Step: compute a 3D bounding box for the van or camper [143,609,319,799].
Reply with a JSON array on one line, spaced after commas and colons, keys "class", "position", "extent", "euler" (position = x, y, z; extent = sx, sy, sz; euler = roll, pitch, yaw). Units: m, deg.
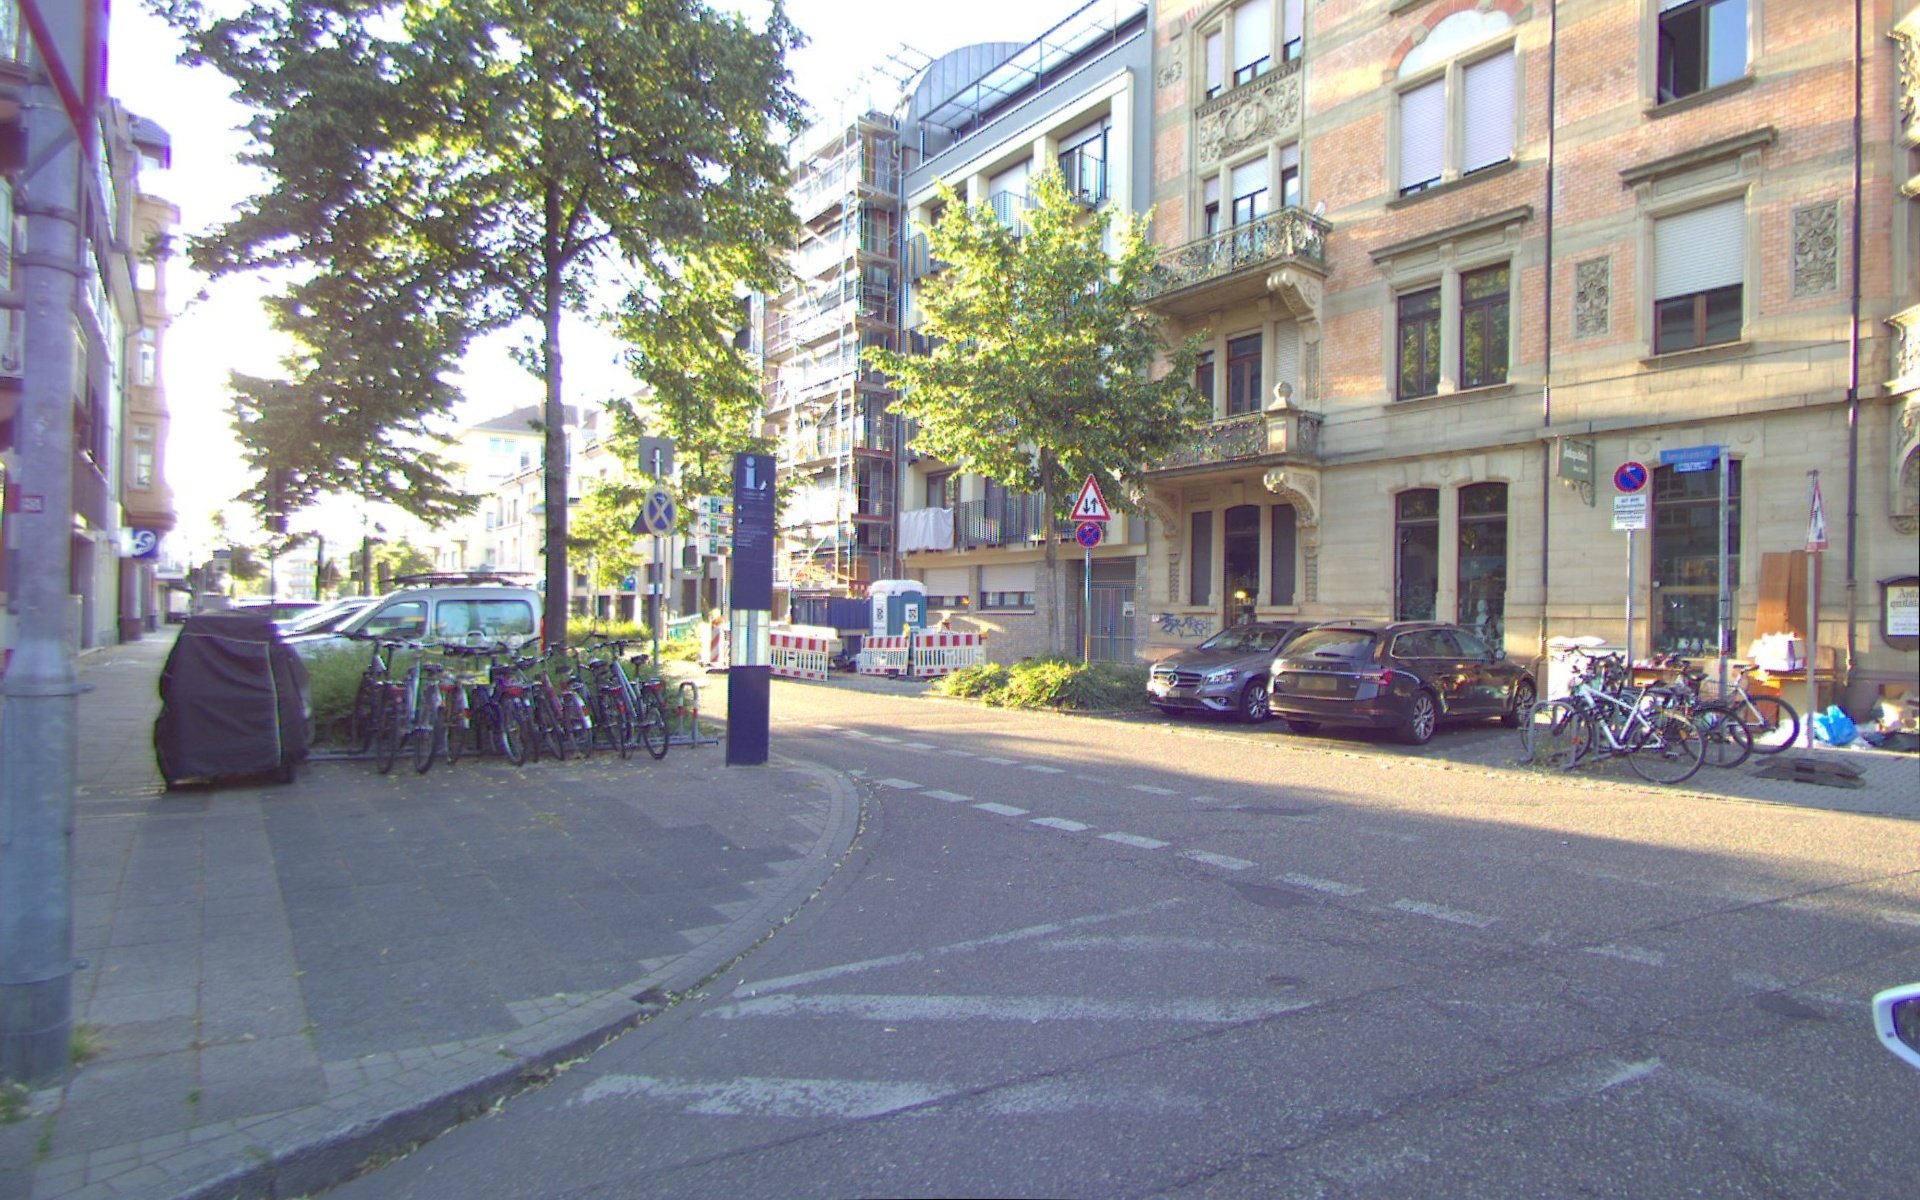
[{"class": "van or camper", "position": [-5.551, 0.731, 7.775], "extent": [0.934, 1.276, 1.829], "euler": [3, -2, -32]}]

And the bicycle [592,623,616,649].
[{"class": "bicycle", "position": [-15.285, 1.540, 43.128], "extent": [0.380, 1.115, 1.503], "euler": [2, -1, -44]}]

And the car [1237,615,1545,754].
[{"class": "car", "position": [5.923, 0.995, 13.584], "extent": [4.500, 1.531, 1.891], "euler": [0, 0, -38]}]

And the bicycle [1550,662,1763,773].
[{"class": "bicycle", "position": [7.580, 1.238, 11.008], "extent": [0.634, 1.027, 1.812], "euler": [1, -1, -38]}]

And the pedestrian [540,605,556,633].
[{"class": "pedestrian", "position": [-25.464, 1.175, 62.082], "extent": [0.806, 1.668, 0.599], "euler": [0, -1, -38]}]

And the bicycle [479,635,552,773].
[{"class": "bicycle", "position": [-4.126, 0.909, 9.275], "extent": [0.310, 1.163, 1.597], "euler": [2, -2, -34]}]

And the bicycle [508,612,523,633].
[{"class": "bicycle", "position": [-27.403, 1.370, 61.880], "extent": [0.395, 1.251, 1.805], "euler": [1, -1, -39]}]

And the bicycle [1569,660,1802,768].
[{"class": "bicycle", "position": [8.258, 1.250, 11.532], "extent": [0.634, 1.027, 2.087], "euler": [1, -1, -38]}]

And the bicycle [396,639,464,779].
[{"class": "bicycle", "position": [-4.650, 0.902, 8.777], "extent": [0.320, 1.096, 1.581], "euler": [2, -2, -34]}]

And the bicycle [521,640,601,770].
[{"class": "bicycle", "position": [-3.817, 0.954, 9.548], "extent": [0.317, 1.096, 1.581], "euler": [4, -2, -34]}]

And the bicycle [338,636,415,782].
[{"class": "bicycle", "position": [-4.974, 0.874, 8.530], "extent": [0.392, 1.096, 1.581], "euler": [4, -2, -34]}]

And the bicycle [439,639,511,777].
[{"class": "bicycle", "position": [-4.361, 0.914, 8.997], "extent": [0.338, 1.096, 1.581], "euler": [1, -1, -34]}]

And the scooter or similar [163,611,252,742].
[{"class": "scooter or similar", "position": [-7.674, 0.736, 10.267], "extent": [0.672, 1.238, 1.380], "euler": [1, -1, -37]}]

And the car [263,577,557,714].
[{"class": "car", "position": [-8.392, 0.679, 15.493], "extent": [3.783, 1.874, 1.684], "euler": [2, -1, -34]}]

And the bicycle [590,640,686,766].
[{"class": "bicycle", "position": [-3.231, 0.977, 10.003], "extent": [0.392, 1.122, 1.696], "euler": [4, -3, -34]}]

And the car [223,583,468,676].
[{"class": "car", "position": [-11.642, 0.609, 19.189], "extent": [3.799, 1.606, 1.725], "euler": [3, -3, -35]}]

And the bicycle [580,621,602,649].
[{"class": "bicycle", "position": [-16.199, 1.531, 44.122], "extent": [0.380, 1.205, 1.505], "euler": [3, -3, -40]}]

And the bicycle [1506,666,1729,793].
[{"class": "bicycle", "position": [6.568, 1.249, 10.133], "extent": [0.565, 1.061, 1.814], "euler": [1, -1, -34]}]

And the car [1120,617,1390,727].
[{"class": "car", "position": [4.759, 1.023, 15.904], "extent": [4.500, 1.499, 1.848], "euler": [1, -1, -38]}]

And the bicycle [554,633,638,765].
[{"class": "bicycle", "position": [-3.575, 0.925, 9.807], "extent": [0.328, 1.155, 1.581], "euler": [4, -2, -34]}]

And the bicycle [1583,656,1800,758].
[{"class": "bicycle", "position": [8.812, 1.249, 12.196], "extent": [0.461, 1.054, 2.087], "euler": [1, -1, -38]}]

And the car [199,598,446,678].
[{"class": "car", "position": [-13.345, 0.784, 21.154], "extent": [4.188, 1.536, 1.741], "euler": [2, -2, -41]}]

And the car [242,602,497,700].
[{"class": "car", "position": [-10.082, 0.847, 17.343], "extent": [3.622, 1.535, 1.634], "euler": [2, -1, -32]}]

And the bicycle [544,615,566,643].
[{"class": "bicycle", "position": [-16.636, 1.183, 41.207], "extent": [0.380, 1.115, 1.505], "euler": [1, -1, -40]}]
